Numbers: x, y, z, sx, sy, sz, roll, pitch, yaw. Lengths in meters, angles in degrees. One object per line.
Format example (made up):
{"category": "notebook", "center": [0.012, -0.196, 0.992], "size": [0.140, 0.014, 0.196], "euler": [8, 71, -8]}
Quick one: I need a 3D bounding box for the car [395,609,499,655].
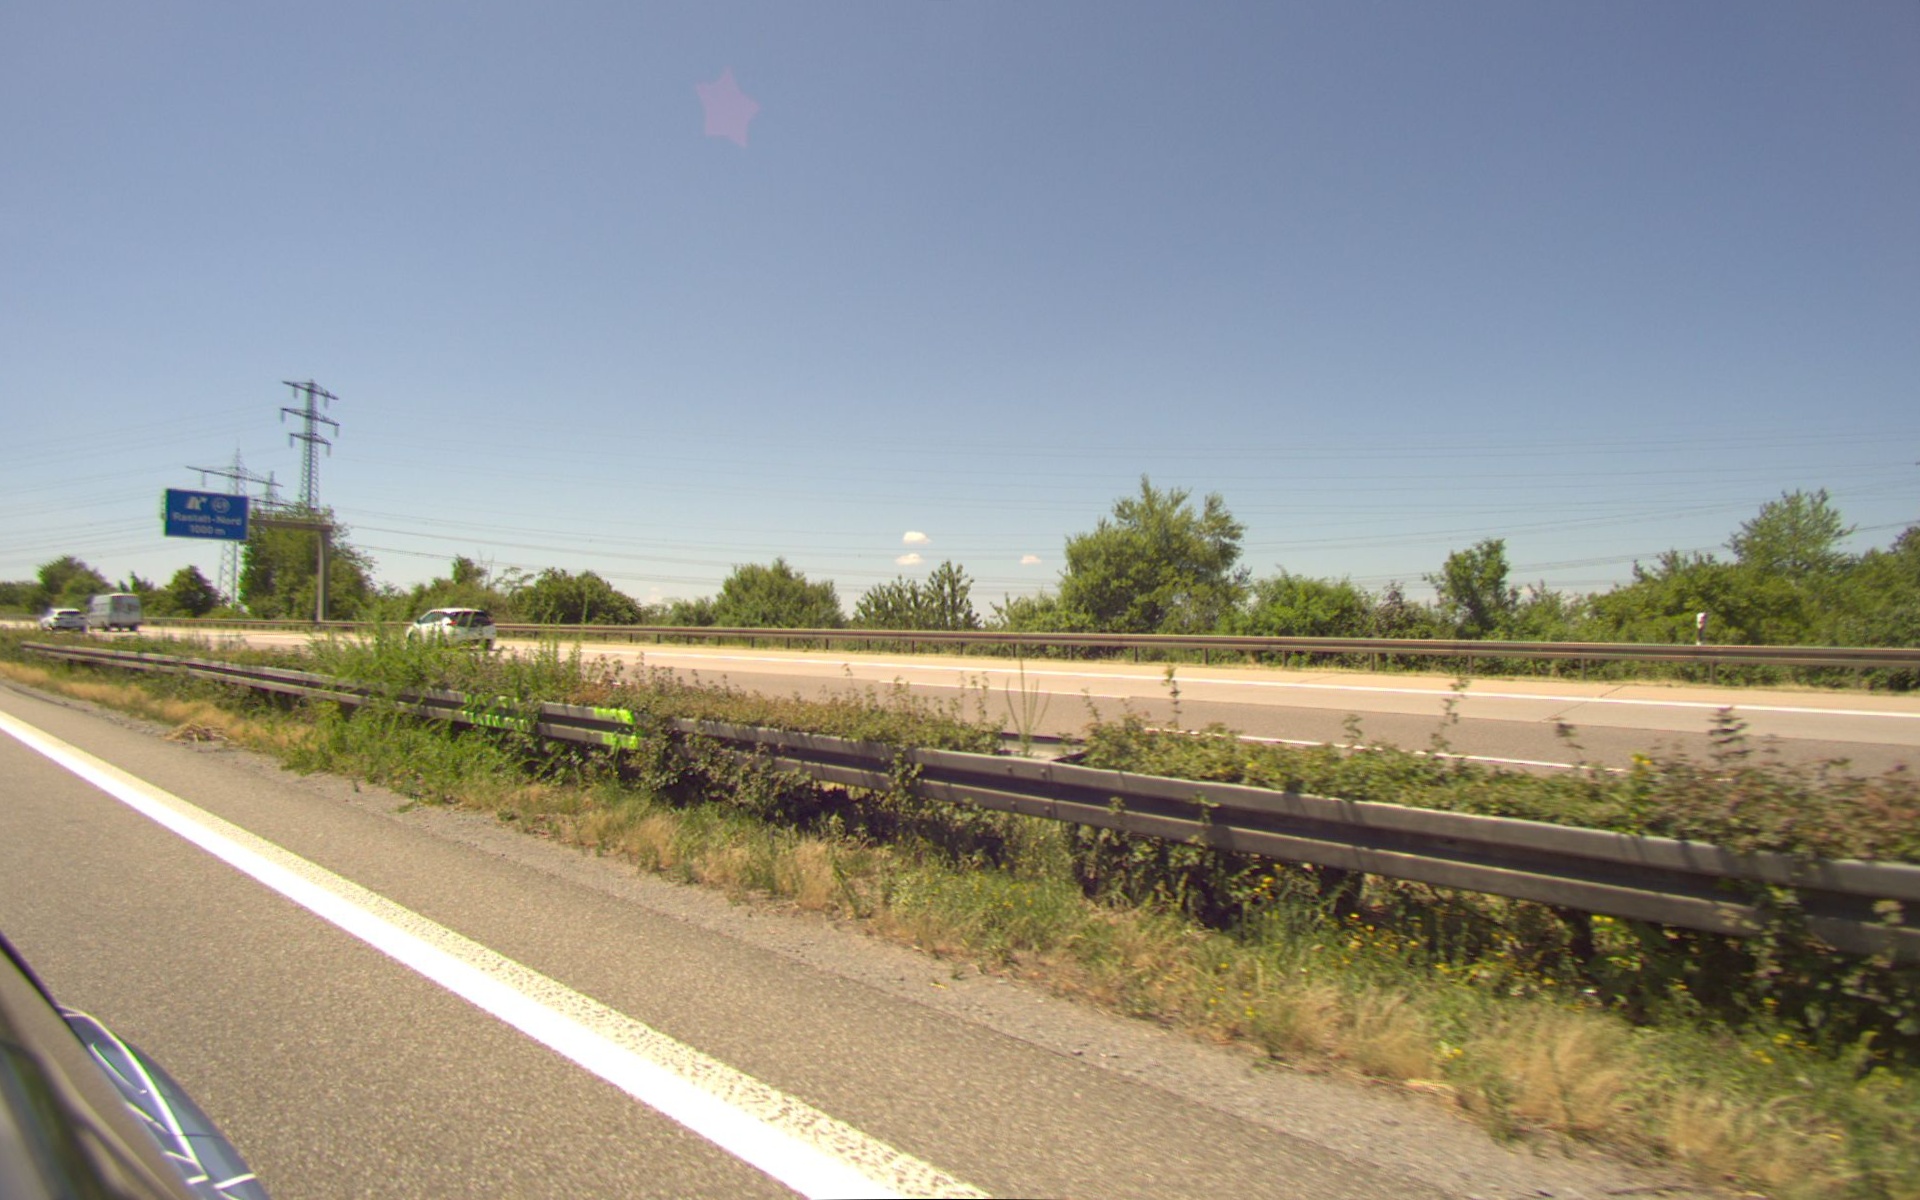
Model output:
{"category": "car", "center": [-19.265, 1.194, 37.898], "size": [4.824, 1.552, 1.729], "euler": [-2, 0, 40]}

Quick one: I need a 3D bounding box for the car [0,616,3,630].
{"category": "car", "center": [-101.982, 2.408, 106.089], "size": [4.084, 1.469, 1.974], "euler": [0, -1, 39]}

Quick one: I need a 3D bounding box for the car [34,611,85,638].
{"category": "car", "center": [-59.035, 1.635, 66.336], "size": [4.896, 1.693, 1.770], "euler": [-2, -1, 39]}

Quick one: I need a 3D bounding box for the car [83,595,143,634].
{"category": "car", "center": [-61.237, 1.044, 73.107], "size": [7.173, 2.706, 1.974], "euler": [-1, 0, 39]}
